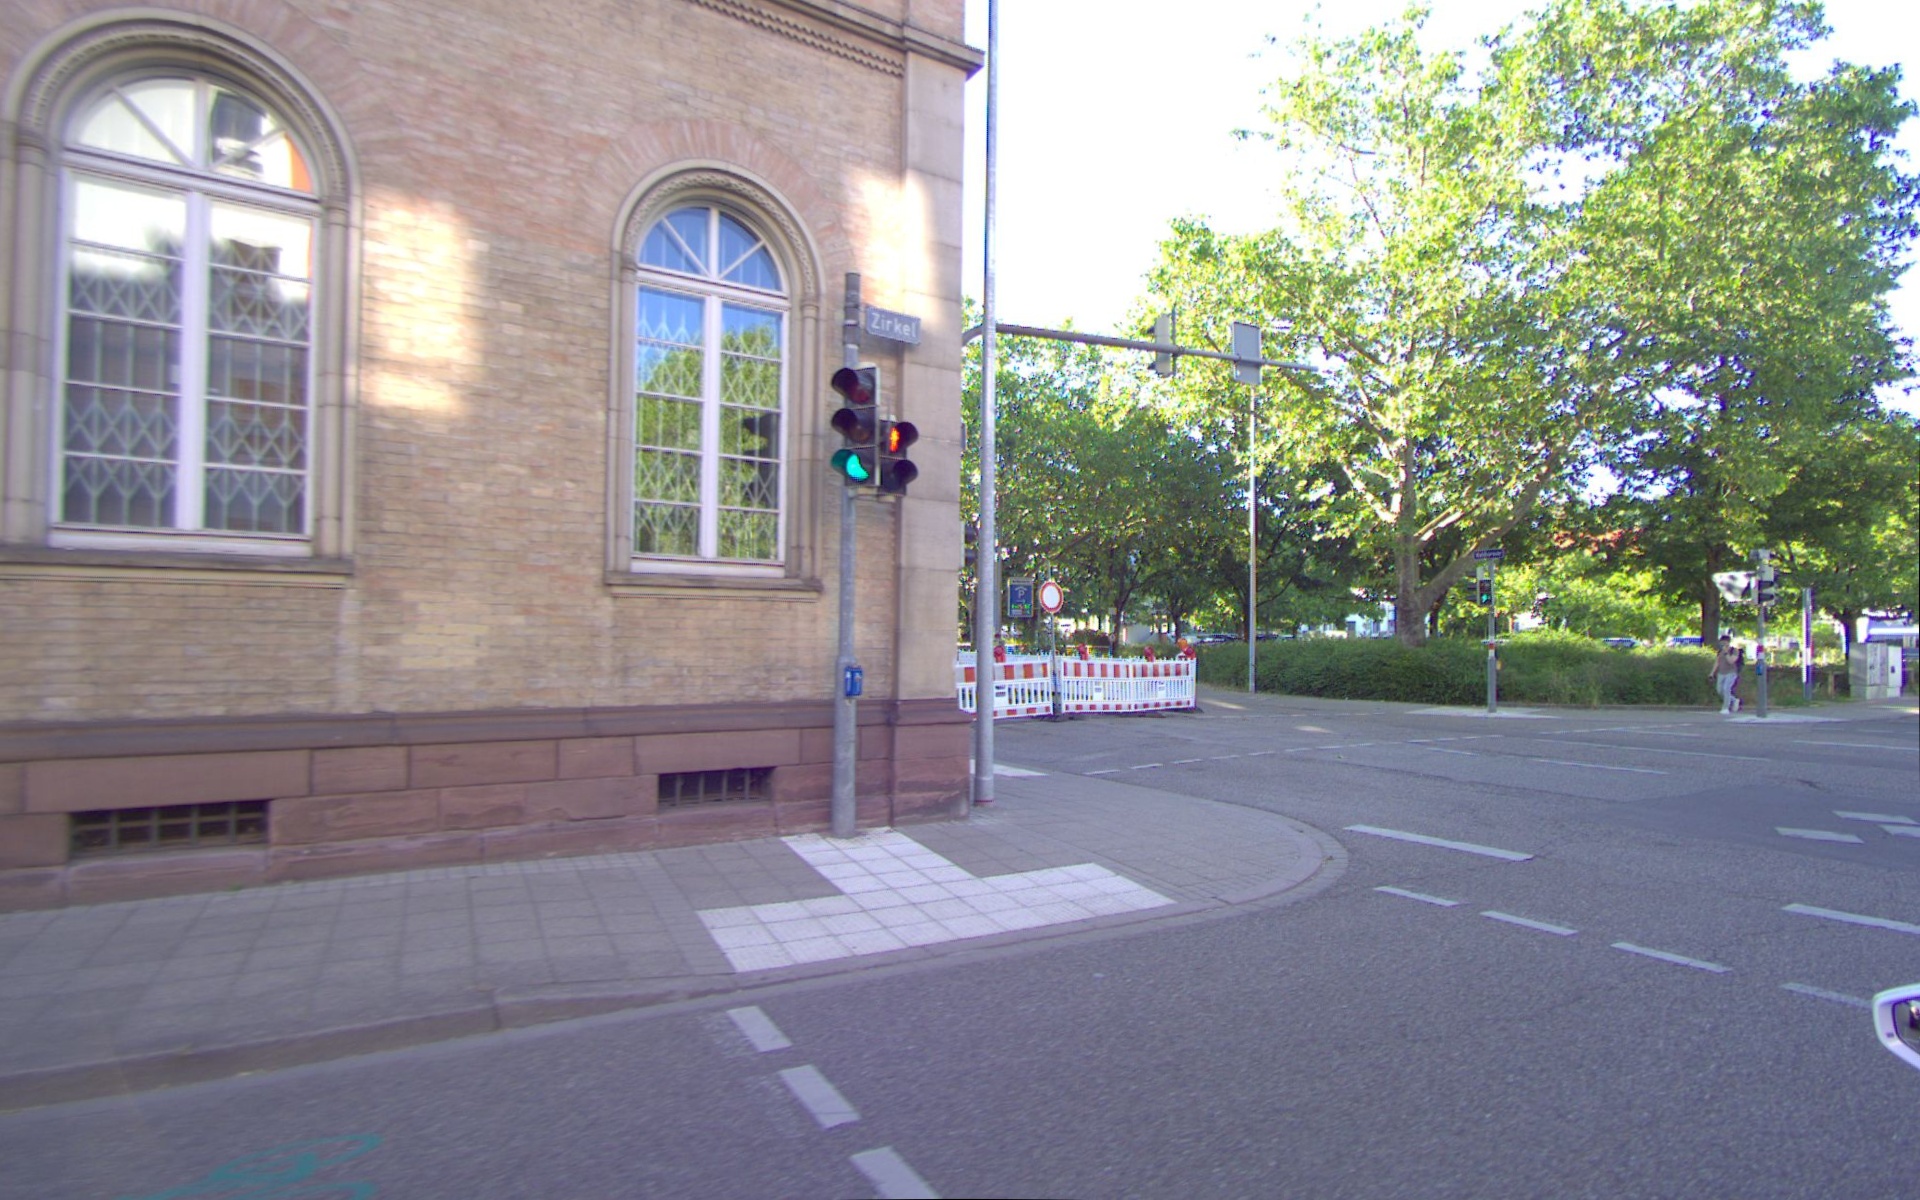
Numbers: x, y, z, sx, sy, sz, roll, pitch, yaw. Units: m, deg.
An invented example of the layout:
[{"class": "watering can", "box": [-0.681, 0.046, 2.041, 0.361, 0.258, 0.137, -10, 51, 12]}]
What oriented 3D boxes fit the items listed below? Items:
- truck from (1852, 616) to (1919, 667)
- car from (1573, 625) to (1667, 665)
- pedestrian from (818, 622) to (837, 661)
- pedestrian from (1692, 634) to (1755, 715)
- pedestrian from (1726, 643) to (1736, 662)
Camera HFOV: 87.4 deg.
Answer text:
[{"class": "truck", "box": [46.716, 2.017, 48.765, 2.066, 2.431, 4.798, 1, -1, -34]}, {"class": "car", "box": [41.879, 2.873, 63.833, 2.053, 2.422, 4.528, 2, -3, -34]}, {"class": "pedestrian", "box": [-6.958, 2.166, 52.594, 0.642, 2.040, 0.818, 2, -2, -37]}, {"class": "pedestrian", "box": [16.806, 1.622, 22.118, 0.941, 1.745, 0.701, 1, -3, -23]}, {"class": "pedestrian", "box": [54.640, 3.720, 71.158, 0.551, 1.341, 0.575, -1, -2, 38]}]
